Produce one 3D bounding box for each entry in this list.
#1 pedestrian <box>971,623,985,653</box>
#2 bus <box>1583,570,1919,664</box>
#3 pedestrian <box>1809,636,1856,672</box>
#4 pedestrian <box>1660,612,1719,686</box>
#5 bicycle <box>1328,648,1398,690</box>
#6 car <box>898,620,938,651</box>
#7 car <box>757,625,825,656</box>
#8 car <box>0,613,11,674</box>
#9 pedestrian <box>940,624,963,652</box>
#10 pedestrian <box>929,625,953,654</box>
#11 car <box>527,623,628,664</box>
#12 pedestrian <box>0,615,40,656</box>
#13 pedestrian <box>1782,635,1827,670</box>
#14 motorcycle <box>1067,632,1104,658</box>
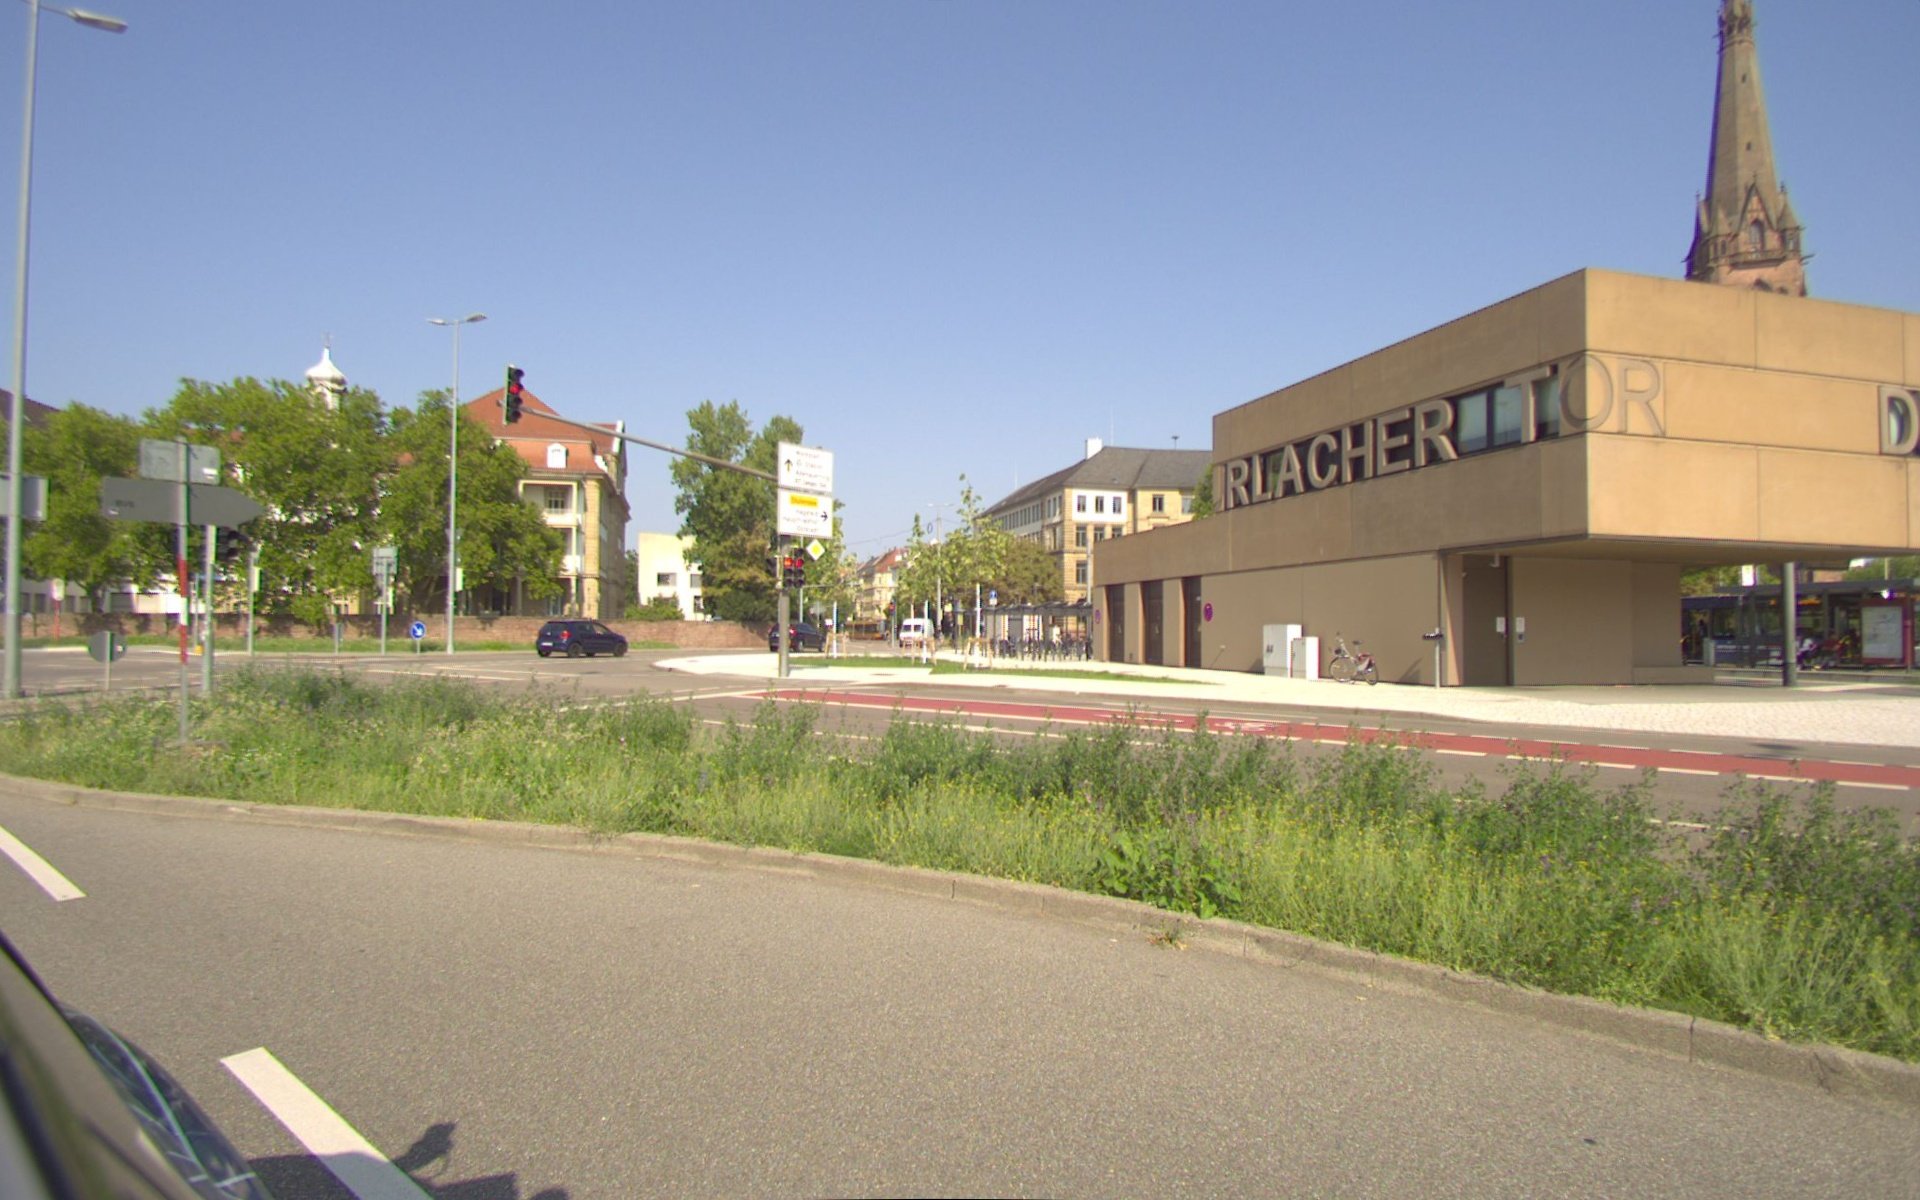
[{"bbox_3d":[1.205,2.622,69.126,0.852,2.029,1.005,0,-2,7],"label":"pedestrian"},{"bbox_3d":[30.523,0.746,38.515,3.243,3.000,12.832,1,-2,-15],"label":"bus"},{"bbox_3d":[27.839,1.708,32.294,1.013,1.142,0.740,1,-2,-23],"label":"pedestrian"},{"bbox_3d":[17.196,1.148,23.866,0.851,1.718,0.734,1,-2,-19],"label":"pedestrian"},{"bbox_3d":[8.887,1.500,22.376,0.583,0.844,1.551,-2,-1,-14],"label":"bicycle"},{"bbox_3d":[-3.609,3.063,88.747,1.981,2.470,5.525,-1,0,15],"label":"car"},{"bbox_3d":[-9.368,2.255,56.531,1.983,1.646,4.346,-1,-2,18],"label":"car"},{"bbox_3d":[-28.081,1.252,26.624,4.309,1.646,2.000,-3,-2,-1],"label":"car"},{"bbox_3d":[-0.579,2.723,72.460,1.205,2.029,1.332,-1,-2,24],"label":"pedestrian"},{"bbox_3d":[-1.319,2.742,70.678,1.205,2.029,1.332,-1,-2,24],"label":"pedestrian"},{"bbox_3d":[-14.664,1.642,38.999,1.612,1.509,3.827,0,-2,18],"label":"car"},{"bbox_3d":[-47.348,1.771,50.985,1.312,2.029,1.069,-1,-1,27],"label":"pedestrian"},{"bbox_3d":[27.652,1.711,33.146,1.013,1.142,0.740,1,-2,-23],"label":"pedestrian"},{"bbox_3d":[7.033,2.509,56.838,0.776,1.460,2.779,1,-2,-23],"label":"motorcycle"}]
